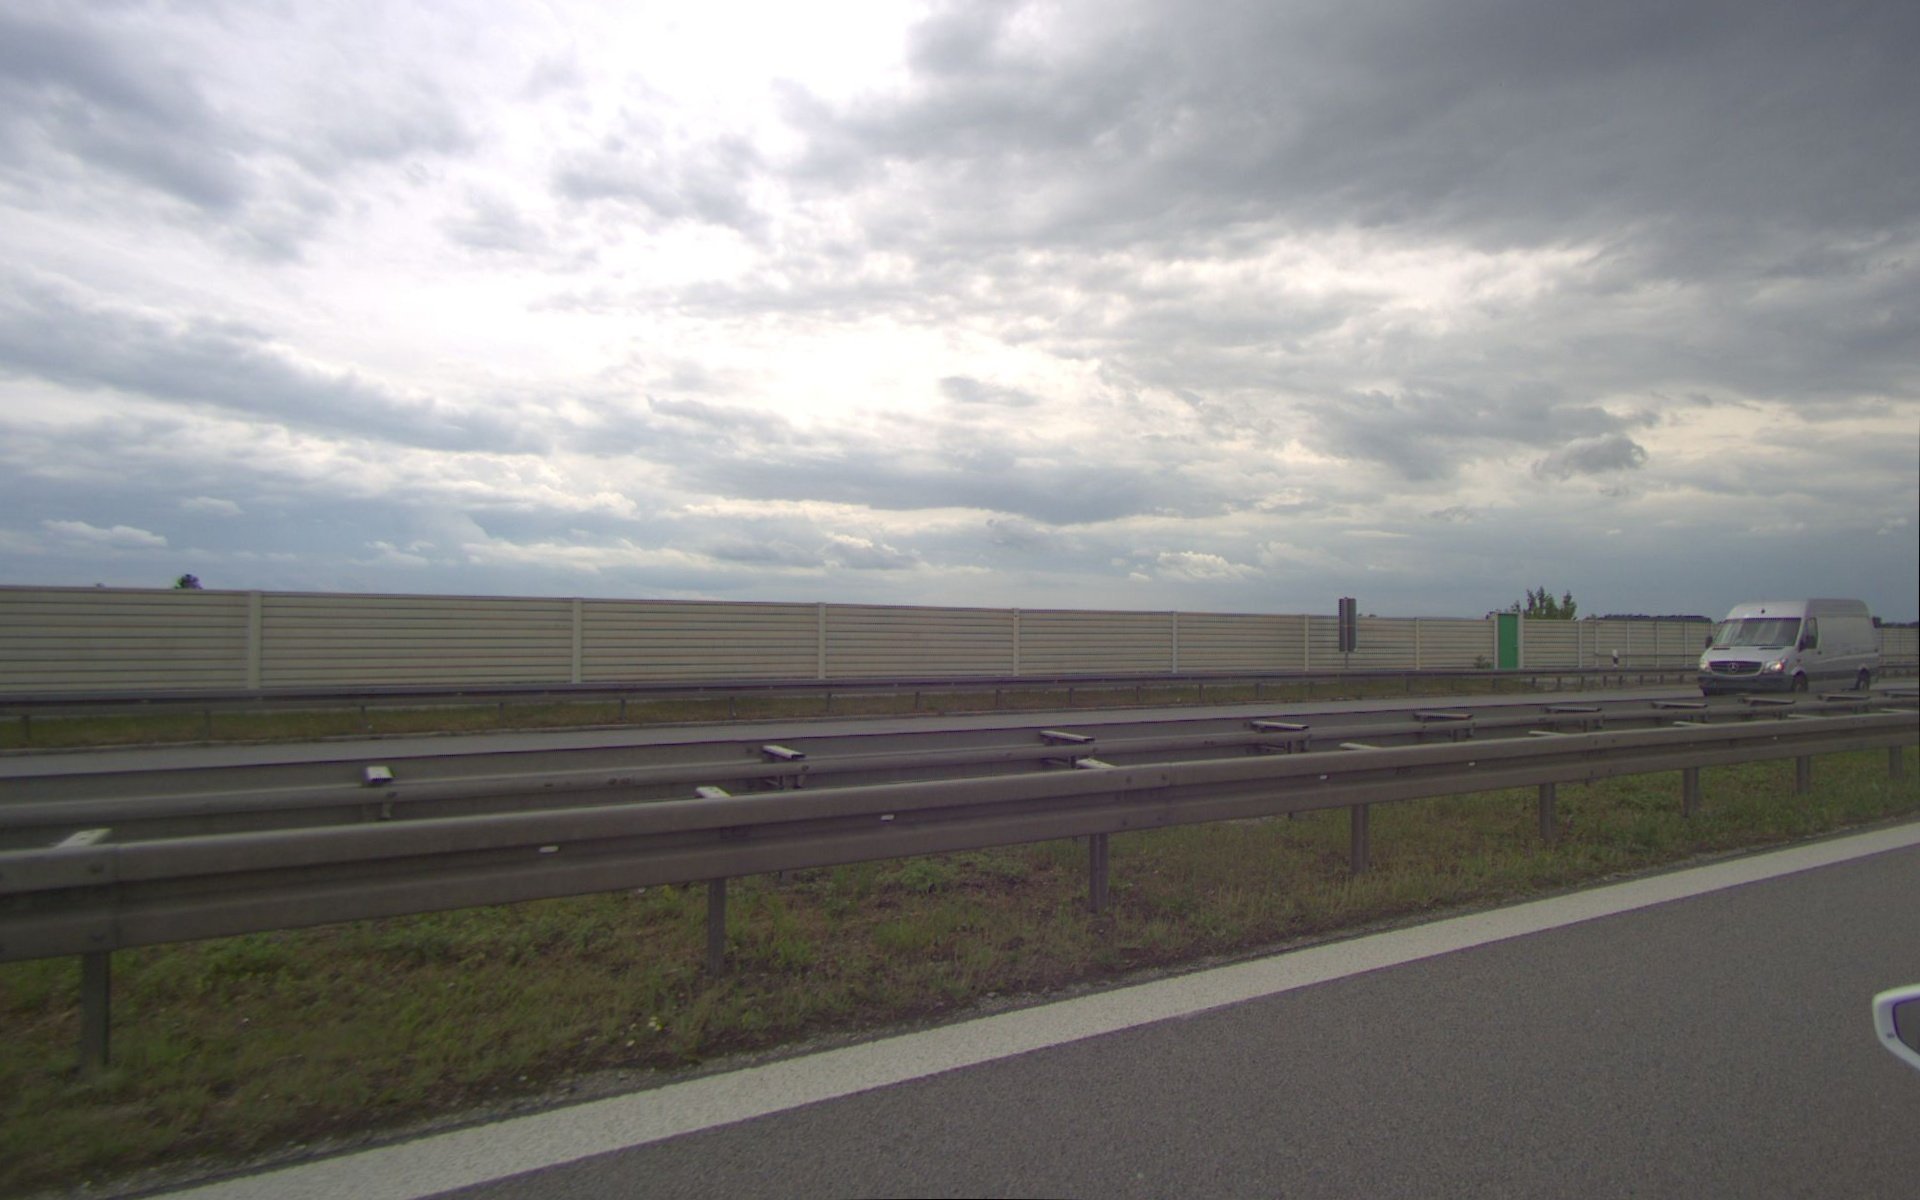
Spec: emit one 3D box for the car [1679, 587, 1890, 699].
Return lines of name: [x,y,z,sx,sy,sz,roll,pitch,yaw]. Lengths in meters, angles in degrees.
car: [21.476,1.158,26.089,6.214,2.636,2.062,2,-5,-30]
